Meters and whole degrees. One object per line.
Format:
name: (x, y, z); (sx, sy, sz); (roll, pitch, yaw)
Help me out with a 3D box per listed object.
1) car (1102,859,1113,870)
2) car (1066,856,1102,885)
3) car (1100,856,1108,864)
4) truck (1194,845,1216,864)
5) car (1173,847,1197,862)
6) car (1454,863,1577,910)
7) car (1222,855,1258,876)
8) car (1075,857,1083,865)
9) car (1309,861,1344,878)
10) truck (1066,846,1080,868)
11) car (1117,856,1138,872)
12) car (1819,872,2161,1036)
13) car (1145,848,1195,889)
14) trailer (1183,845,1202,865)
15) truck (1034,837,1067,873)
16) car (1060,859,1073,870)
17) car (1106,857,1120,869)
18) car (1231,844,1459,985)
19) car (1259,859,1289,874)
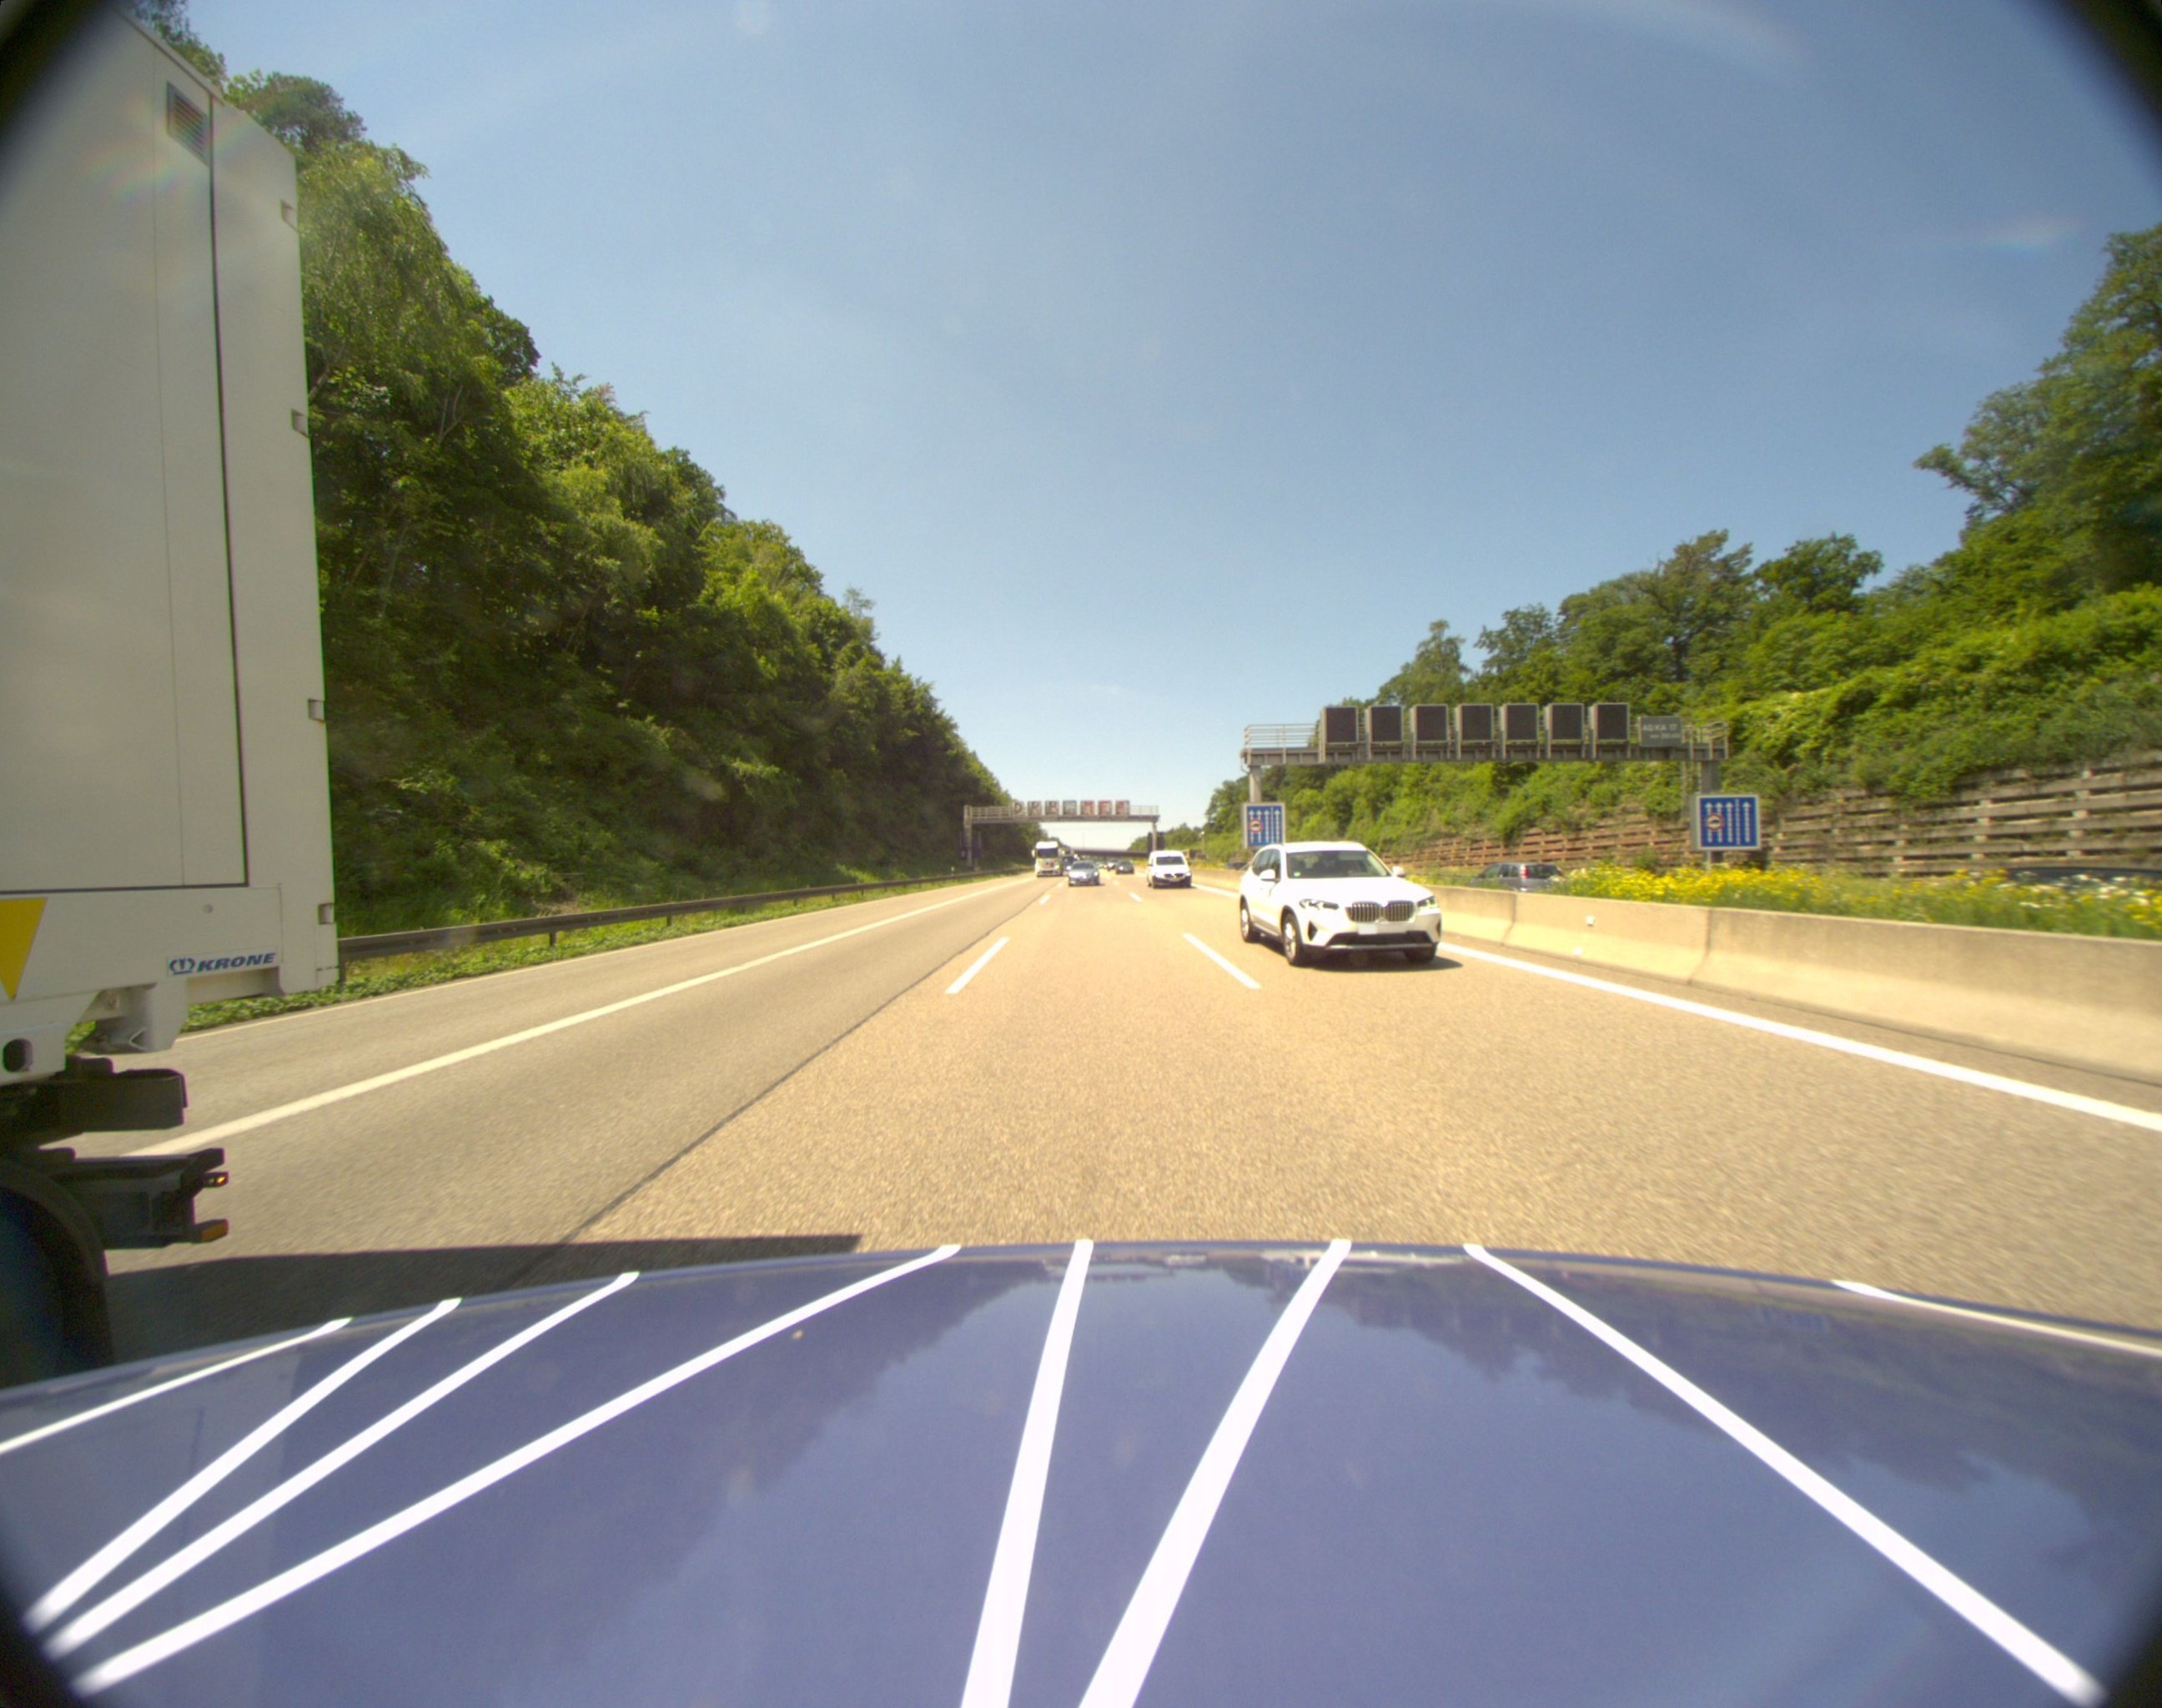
car: (4.846, 1.871, 141.232); (1.924, 1.849, 4.001); (-3, 0, 2)
car: (0.227, 0.939, 44.330); (1.843, 1.518, 4.502); (-3, 0, 2)
car: (5.413, 1.424, 179.042); (1.924, 1.849, 4.001); (-3, 0, 2)
truck: (20.691, 0.134, 127.072); (2.586, 2.975, 7.062); (0, 0, 0)
car: (12.308, 0.081, 90.257); (2.002, 1.677, 5.995); (0, -1, -1)
car: (15.165, 1.086, 26.807); (1.903, 1.517, 4.373); (0, -1, 1)
car: (11.926, 0.836, 57.213); (1.903, 1.517, 4.373); (0, -1, 1)
car: (-0.459, 1.810, 197.015); (1.924, 1.849, 4.001); (-3, 0, 2)
car: (22.864, 1.432, 70.814); (1.903, 1.486, 4.478); (0, -1, 1)
truck: (-1.604, 0.619, 157.518); (2.627, 4.364, 13.087); (-3, 0, 0)
car: (4.725, 0.974, 78.013); (1.770, 1.504, 4.725); (-3, 0, 0)
car: (11.202, 0.986, 8.484); (1.732, 1.517, 4.373); (0, -1, 1)
car: (4.281, 0.675, 37.186); (1.998, 1.764, 4.502); (-3, 0, 2)
trailer: (24.592, 0.179, 168.002); (2.985, 4.182, 14.469); (1, 0, 3)
truck: (-3.219, 0.097, 83.465); (2.844, 3.518, 13.087); (-3, 0, 0)
car: (-2.089, 1.543, 111.059); (1.770, 1.504, 4.000); (-3, 0, 0)
car: (4.284, 1.228, 102.213); (1.770, 1.504, 4.000); (-3, 0, 0)
car: (3.632, 0.756, 11.385); (1.850, 1.634, 4.368); (-2, -1, 0)
car: (19.011, 1.226, 75.121); (1.903, 1.517, 4.373); (0, -1, 1)
